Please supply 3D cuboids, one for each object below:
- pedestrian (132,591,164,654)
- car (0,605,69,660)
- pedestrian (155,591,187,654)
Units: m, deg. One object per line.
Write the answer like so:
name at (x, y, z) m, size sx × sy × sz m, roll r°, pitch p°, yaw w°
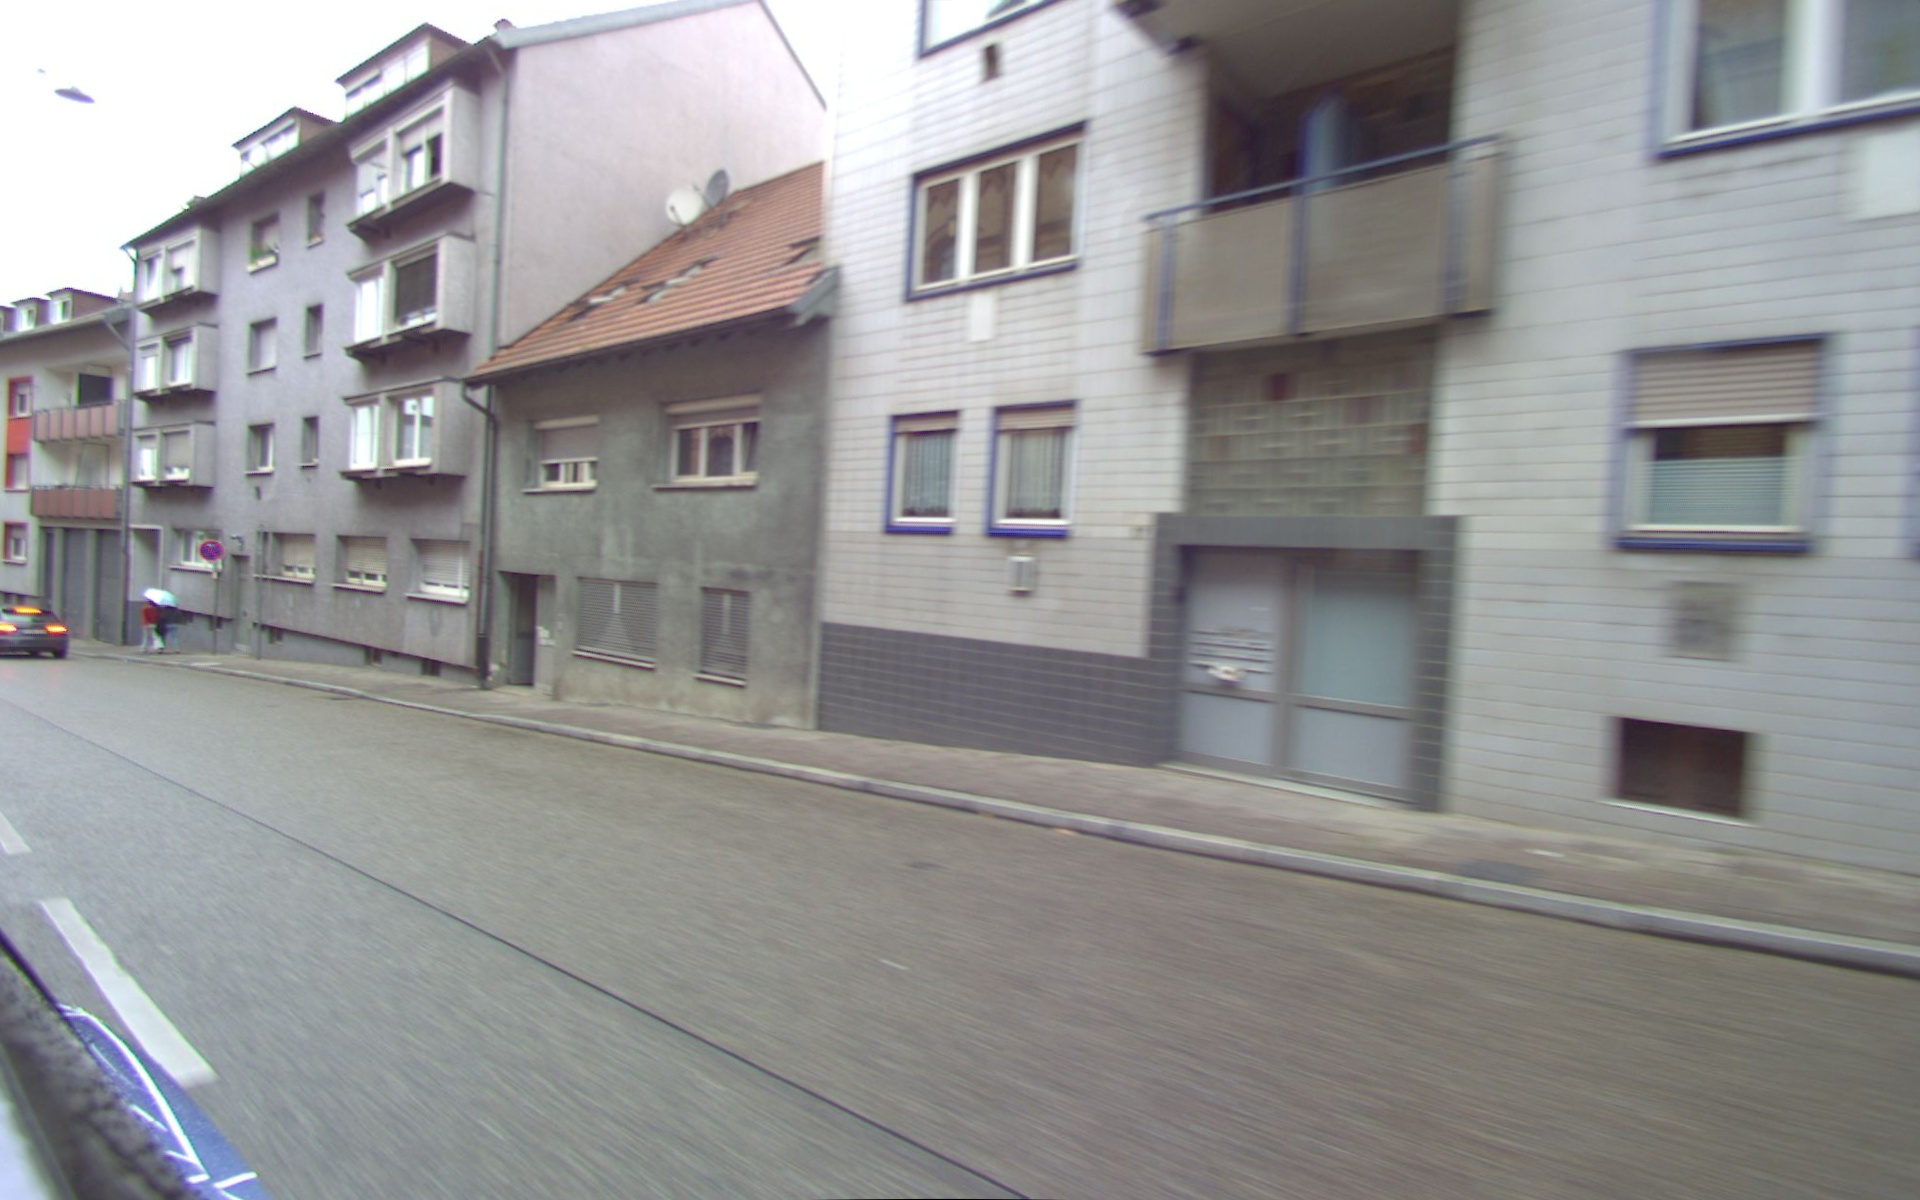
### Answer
pedestrian at (-23.173, 0.644, 28.877) m, size 0.621 × 1.789 × 0.518 m, roll -1°, pitch -2°, yaw 35°
car at (-26.098, 0.871, 27.840) m, size 3.845 × 1.389 × 1.629 m, roll 0°, pitch -4°, yaw 38°
pedestrian at (-22.863, 0.658, 29.318) m, size 0.621 × 1.789 × 0.518 m, roll -1°, pitch -2°, yaw 35°
